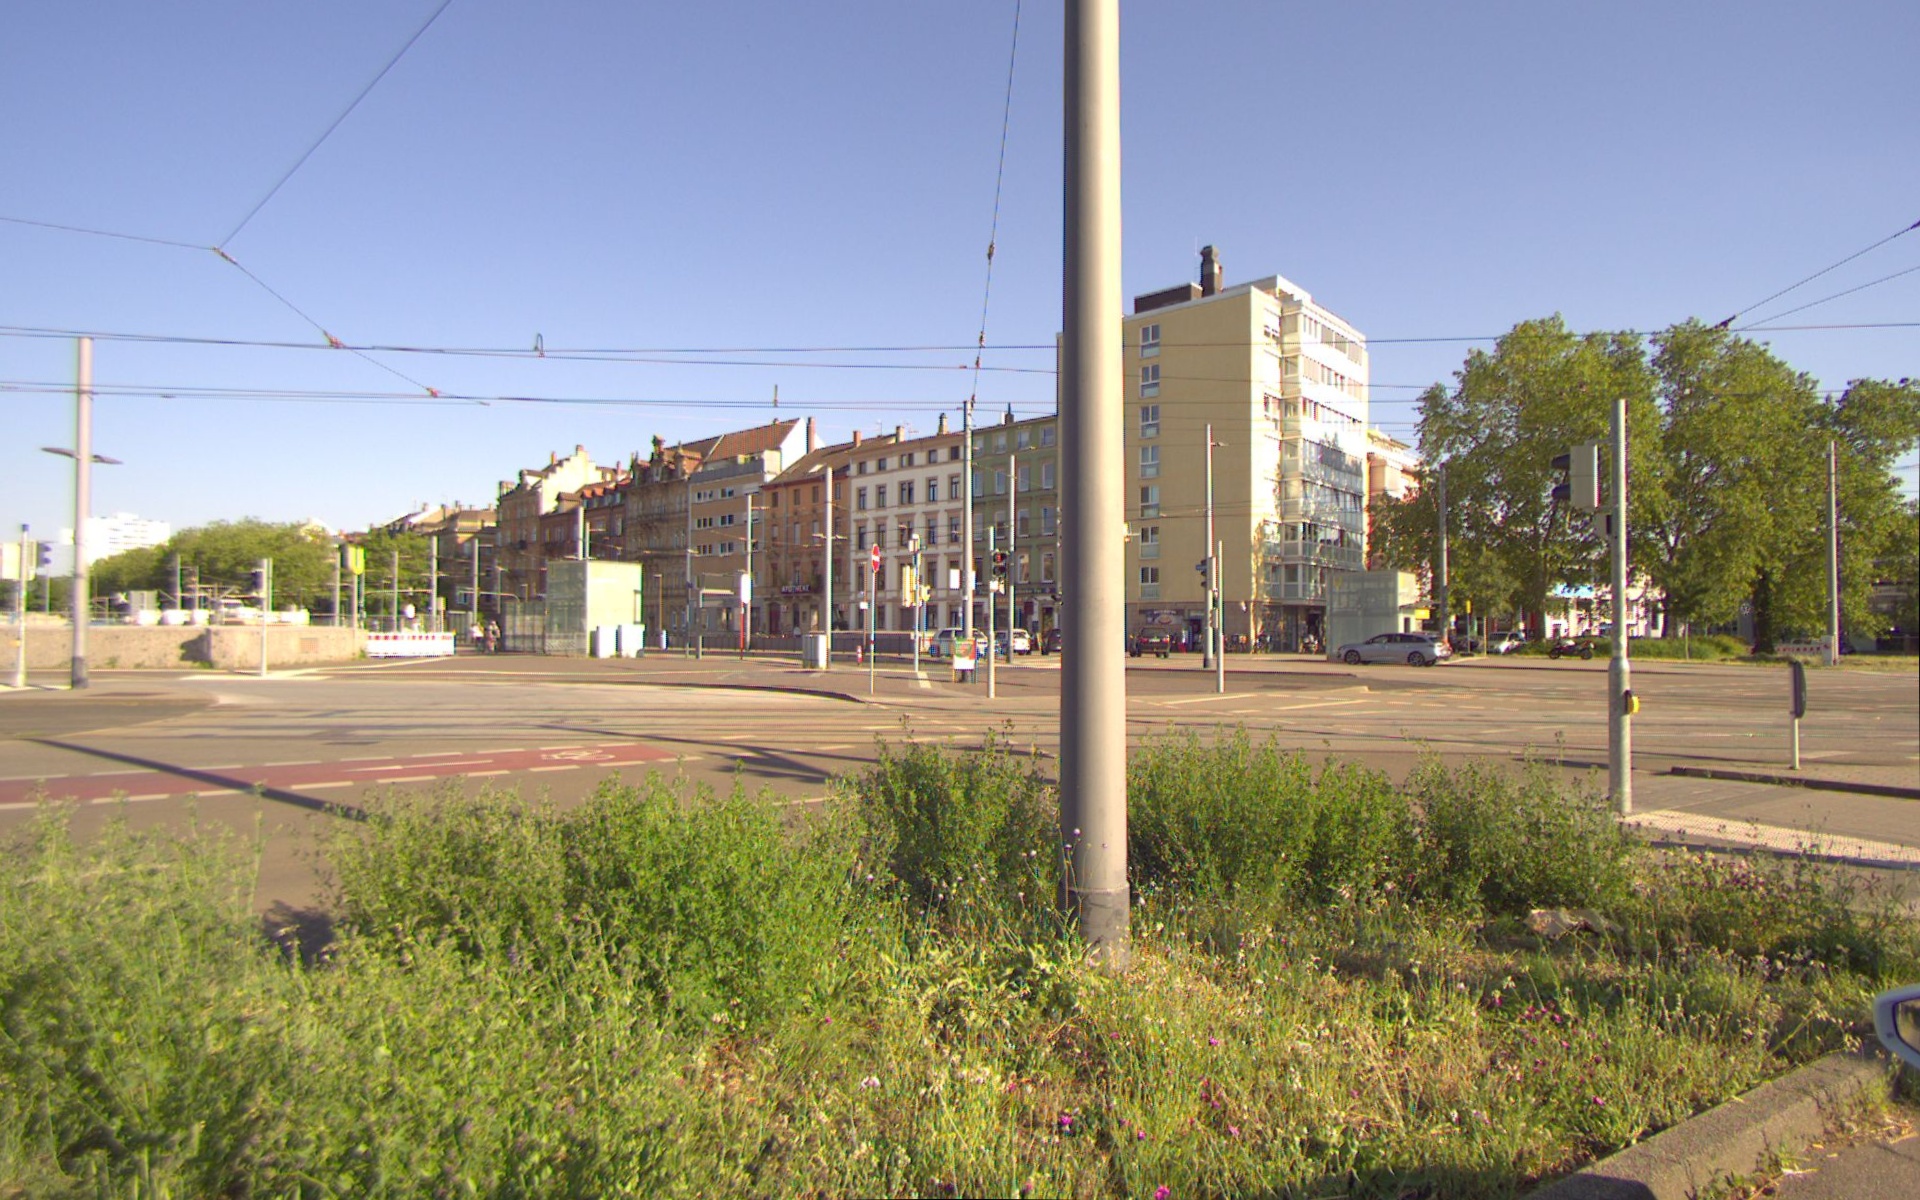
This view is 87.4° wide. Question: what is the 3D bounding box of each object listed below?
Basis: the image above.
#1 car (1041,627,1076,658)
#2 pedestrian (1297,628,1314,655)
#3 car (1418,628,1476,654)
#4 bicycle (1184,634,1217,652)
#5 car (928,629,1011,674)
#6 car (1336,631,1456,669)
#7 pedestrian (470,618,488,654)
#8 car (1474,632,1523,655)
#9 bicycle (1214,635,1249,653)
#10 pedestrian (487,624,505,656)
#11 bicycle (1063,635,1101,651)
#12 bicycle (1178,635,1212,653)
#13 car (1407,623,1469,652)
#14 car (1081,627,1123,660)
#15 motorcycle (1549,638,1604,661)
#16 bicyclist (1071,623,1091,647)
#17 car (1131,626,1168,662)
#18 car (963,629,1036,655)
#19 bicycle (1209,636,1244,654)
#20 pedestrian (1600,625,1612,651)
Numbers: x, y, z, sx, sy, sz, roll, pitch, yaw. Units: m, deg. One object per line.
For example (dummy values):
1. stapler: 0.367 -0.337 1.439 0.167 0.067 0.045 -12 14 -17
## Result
1. car: 6.029 2.584 61.887 1.803 1.742 4.000 -1 0 1
2. pedestrian: 21.733 2.607 63.147 0.767 1.698 0.778 -1 -2 43
3. car: 36.831 3.087 76.043 3.925 1.882 1.851 0 0 26
4. bicycle: 15.643 2.806 65.370 2.019 1.104 0.773 -1 -2 42
5. car: 0.460 2.500 49.581 3.691 2.040 1.990 0 0 41
6. car: 19.026 2.143 43.948 4.489 1.537 1.945 -1 -2 39
7. pedestrian: -24.595 1.840 51.358 0.721 1.801 0.788 1 -2 -34
8. car: 35.572 2.851 66.296 1.827 1.471 3.976 0 -2 44
9. bicycle: 17.271 2.792 63.899 2.019 1.104 0.773 -1 -2 42
10. pedestrian: -24.755 2.129 53.585 0.721 1.671 0.788 1 -2 -34
11. bicycle: 8.026 2.809 66.200 0.957 1.016 2.414 2 -2 -45
12. bicycle: 15.141 2.812 64.654 2.019 1.104 0.773 -1 -2 42
13. car: 34.039 2.667 71.570 3.925 2.040 1.998 0 -2 26
14. car: 8.405 2.549 59.735 1.803 1.771 3.999 -1 0 -1
15. motorcycle: 30.821 2.468 50.255 0.682 1.068 2.263 -1 0 -42
16. bicyclist: 7.977 2.311 66.257 0.914 1.580 0.957 -1 -2 45
17. car: 10.889 2.519 57.886 1.815 1.882 4.002 -1 0 6
18. car: 2.322 2.452 59.466 4.050 1.471 1.943 -1 -2 43
19. bicycle: 16.759 2.798 63.225 2.019 1.104 0.773 -1 -2 42
20. pedestrian: 52.276 3.079 81.286 0.702 2.040 0.586 1 -1 -30
